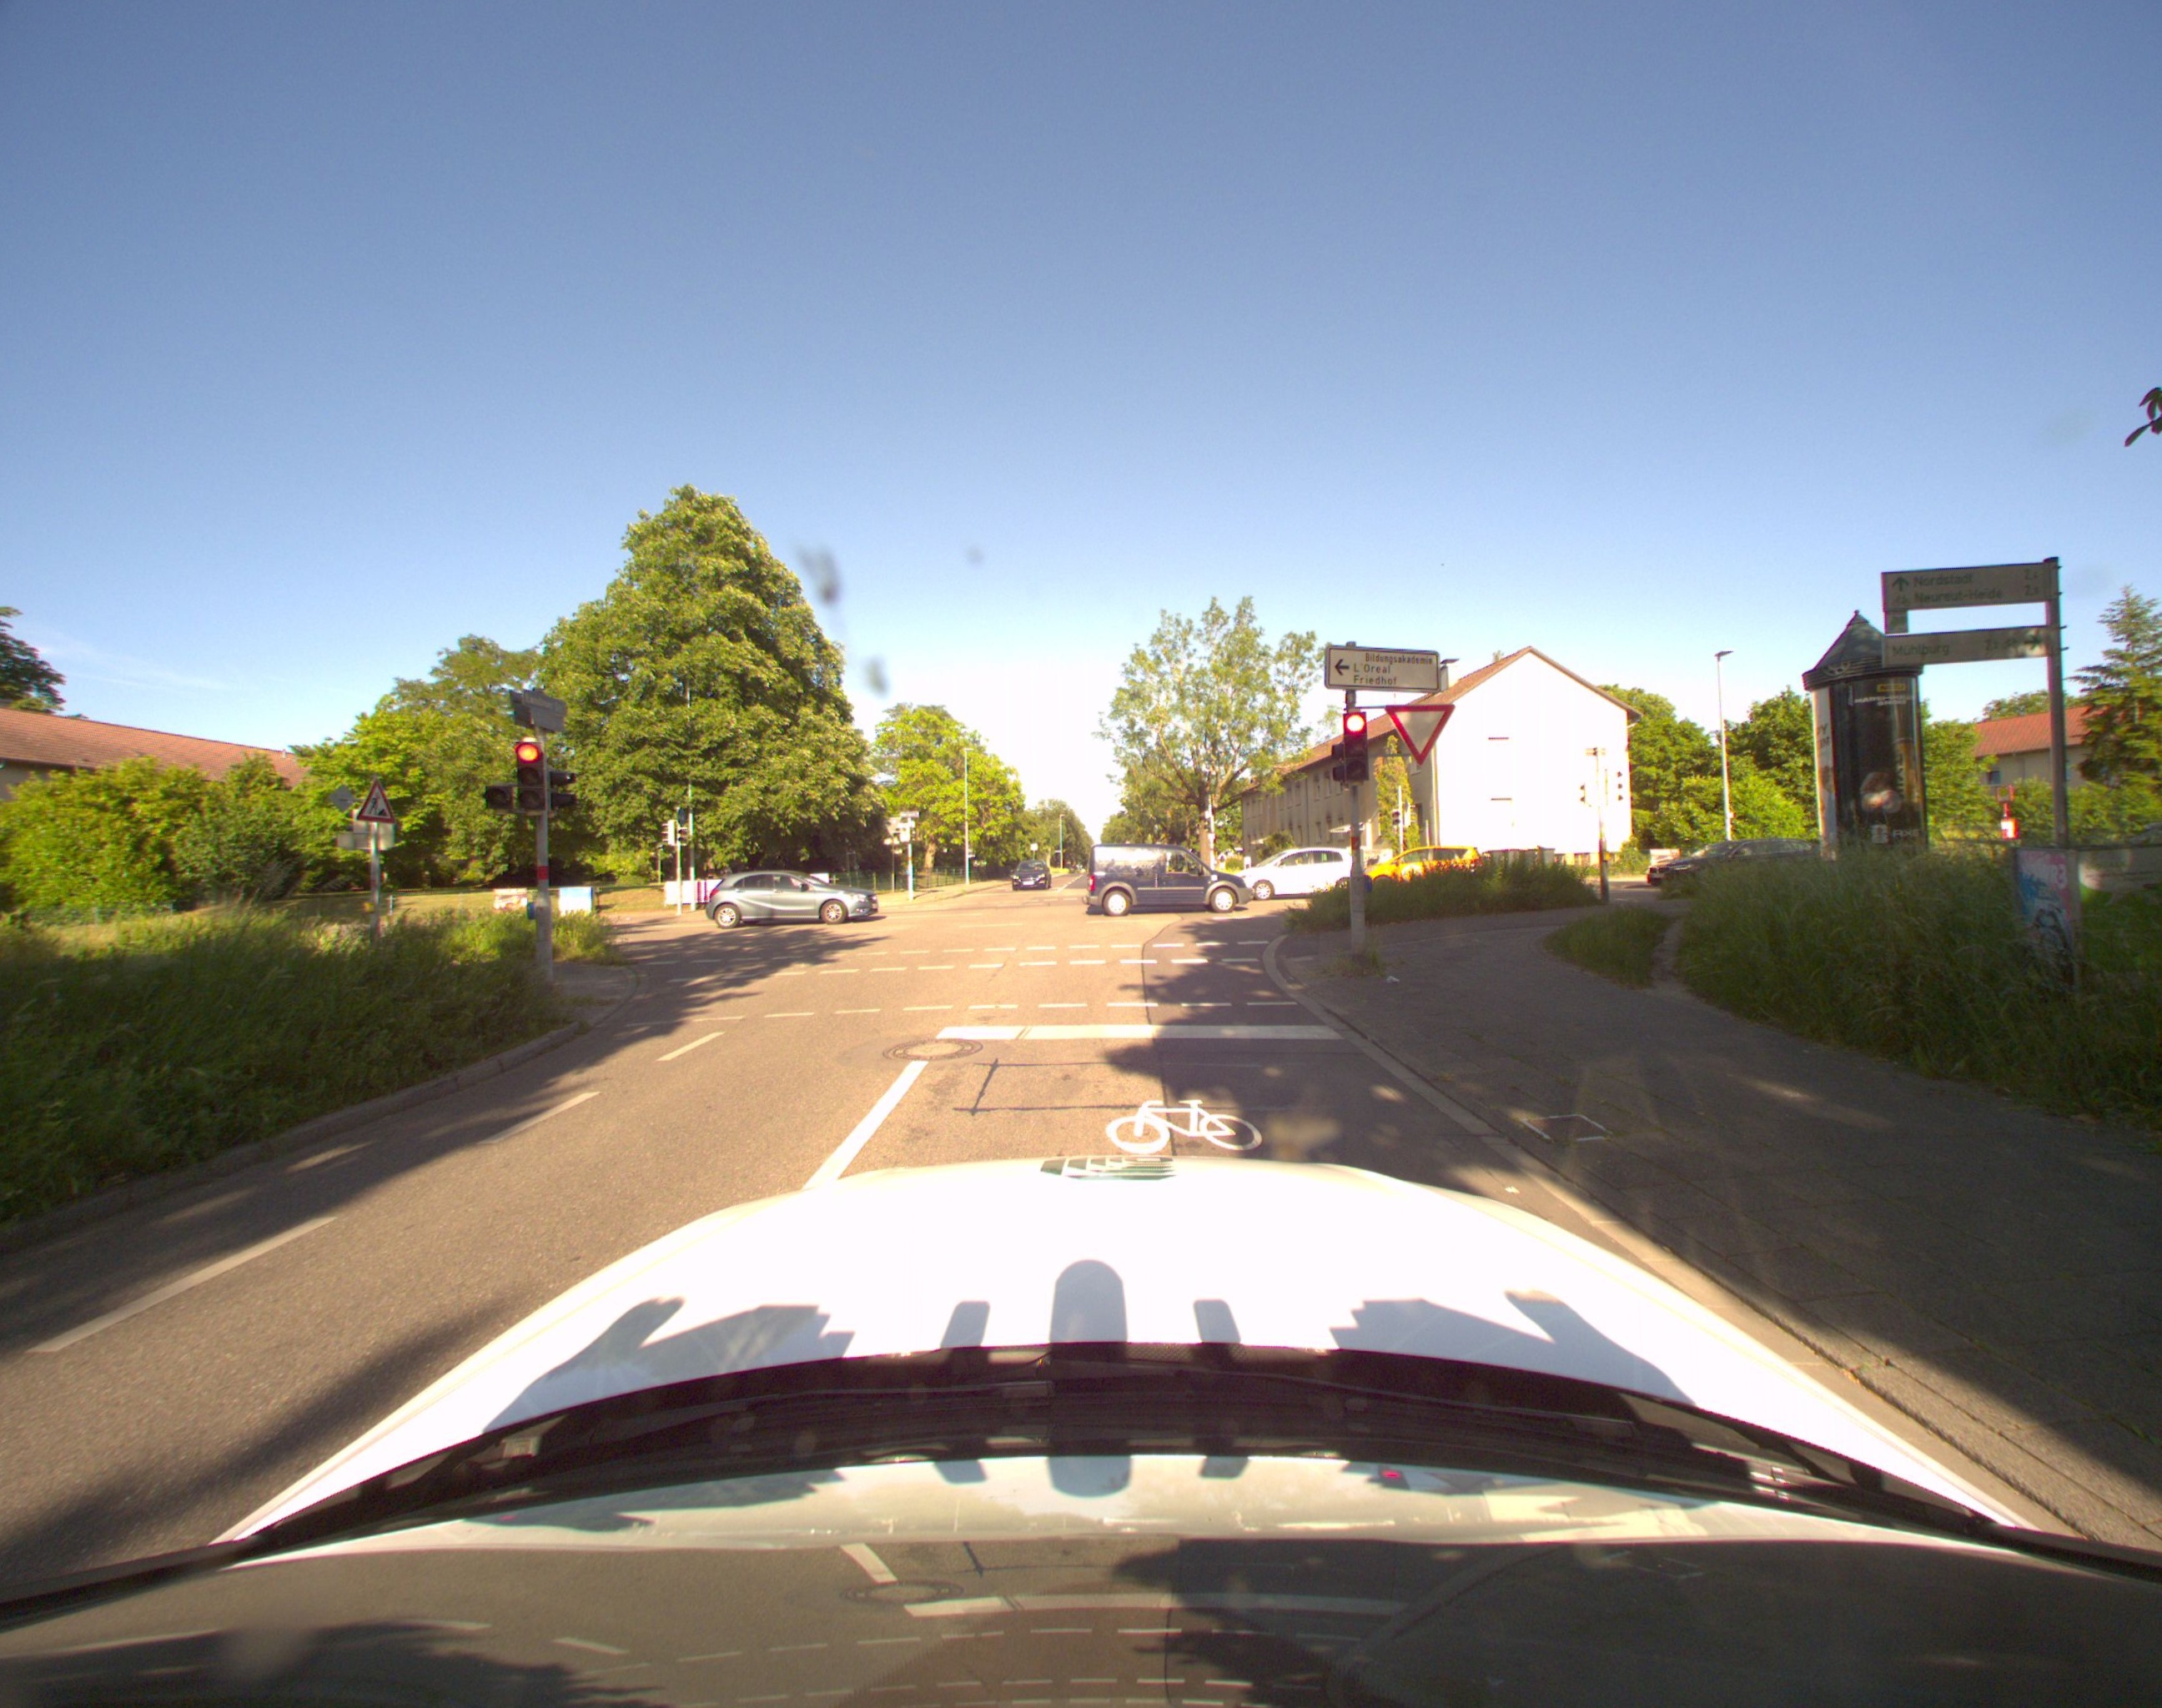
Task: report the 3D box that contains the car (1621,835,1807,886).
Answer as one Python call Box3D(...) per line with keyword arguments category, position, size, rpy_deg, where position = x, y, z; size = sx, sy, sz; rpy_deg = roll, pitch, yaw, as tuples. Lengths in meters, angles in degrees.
Box3D(category="car", position=(20.203, 0.187, 26.079), size=(4.726, 1.430, 1.994), rpy_deg=(-2, 0, -9))

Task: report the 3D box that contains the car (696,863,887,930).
Box3D(category="car", position=(-7.500, 1.072, 21.409), size=(4.270, 1.489, 1.913), rpy_deg=(-2, 0, -1))

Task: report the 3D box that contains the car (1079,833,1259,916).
Box3D(category="car", position=(2.176, 0.500, 20.988), size=(4.334, 1.887, 1.858), rpy_deg=(-2, 0, -3))

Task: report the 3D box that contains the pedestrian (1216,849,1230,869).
Box3D(category="pedestrian", position=(10.533, 0.390, 60.469), size=(0.839, 1.493, 0.924), rpy_deg=(1, 0, 1))

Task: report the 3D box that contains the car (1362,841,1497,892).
Box3D(category="car", position=(11.427, 0.414, 26.968), size=(3.955, 1.582, 1.765), rpy_deg=(-1, -1, 18))

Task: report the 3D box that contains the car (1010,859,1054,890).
Box3D(category="car", position=(-2.343, 0.979, 39.723), size=(1.704, 1.385, 3.473), rpy_deg=(-2, 0, 3))

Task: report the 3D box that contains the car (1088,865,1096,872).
Box3D(category="car", position=(2.776, 3.550, 203.674), size=(1.751, 1.624, 3.271), rpy_deg=(-2, 0, 3))

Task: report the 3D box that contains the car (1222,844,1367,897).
Box3D(category="car", position=(6.600, 0.518, 25.465), size=(4.095, 1.563, 1.756), rpy_deg=(0, -1, -1))
